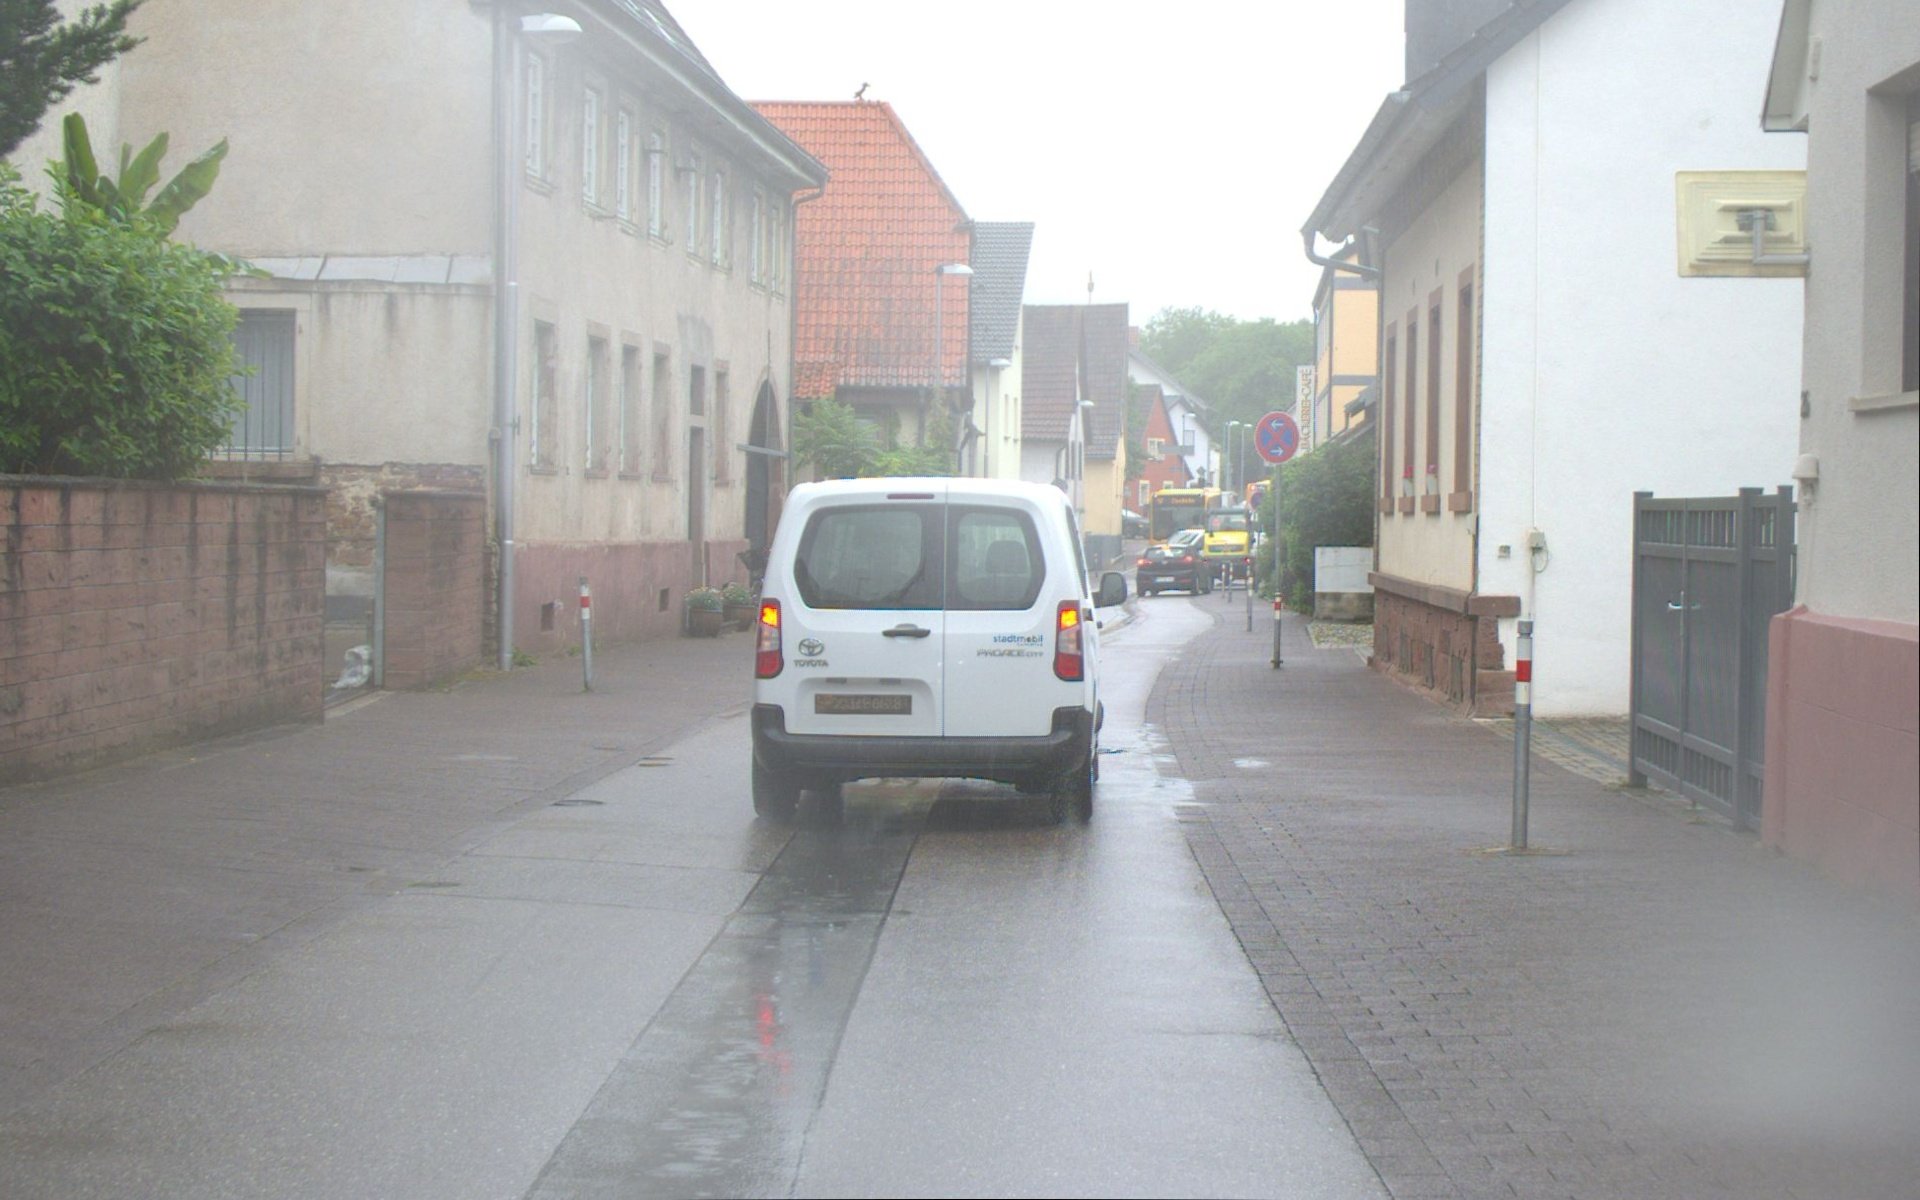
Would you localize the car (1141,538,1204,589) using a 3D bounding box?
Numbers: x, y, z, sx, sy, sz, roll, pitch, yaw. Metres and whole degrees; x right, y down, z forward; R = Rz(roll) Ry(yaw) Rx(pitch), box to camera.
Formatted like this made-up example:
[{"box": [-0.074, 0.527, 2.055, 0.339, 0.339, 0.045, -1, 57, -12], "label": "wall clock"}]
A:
[{"box": [6.035, -1.021, 97.413, 1.562, 1.367, 3.584, 2, 0, 6], "label": "car"}]

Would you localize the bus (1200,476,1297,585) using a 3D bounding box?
[{"box": [9.130, -2.121, 108.583, 2.794, 3.169, 8.176, 3, 1, 5], "label": "bus"}]

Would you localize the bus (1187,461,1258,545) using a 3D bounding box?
[{"box": [11.474, -4.163, 149.753, 2.794, 3.317, 8.176, 3, 1, 5], "label": "bus"}]

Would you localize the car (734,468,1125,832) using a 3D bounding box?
[{"box": [-0.057, 0.240, 19.237, 1.795, 1.812, 4.101, 0, 0, 5], "label": "car"}]

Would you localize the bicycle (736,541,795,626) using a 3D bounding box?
[{"box": [-2.776, -0.238, 49.180, 0.483, 1.176, 1.835, 2, 0, 7], "label": "bicycle"}]

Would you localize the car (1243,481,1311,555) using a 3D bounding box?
[{"box": [9.112, -2.337, 99.040, 1.827, 2.007, 3.693, 2, 0, 5], "label": "car"}]
